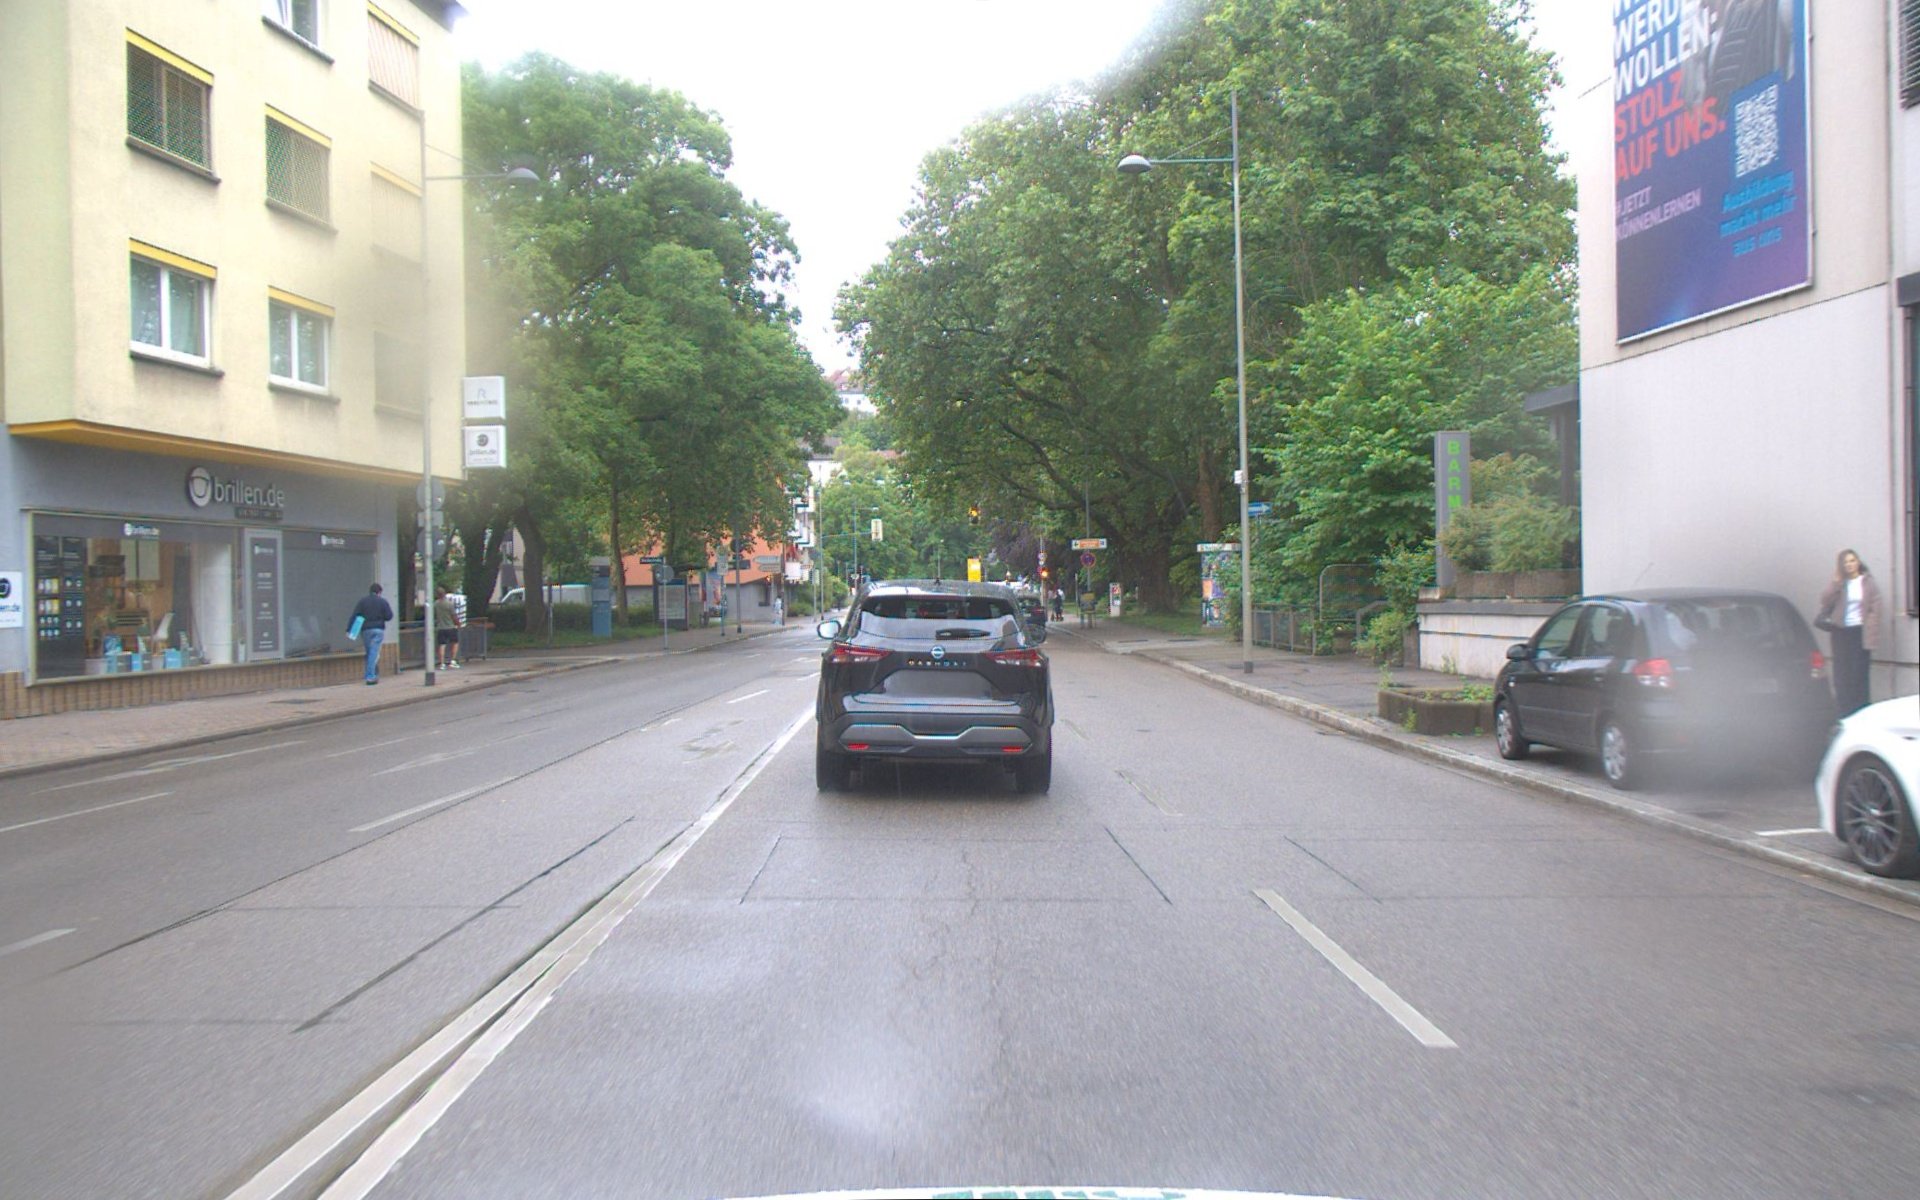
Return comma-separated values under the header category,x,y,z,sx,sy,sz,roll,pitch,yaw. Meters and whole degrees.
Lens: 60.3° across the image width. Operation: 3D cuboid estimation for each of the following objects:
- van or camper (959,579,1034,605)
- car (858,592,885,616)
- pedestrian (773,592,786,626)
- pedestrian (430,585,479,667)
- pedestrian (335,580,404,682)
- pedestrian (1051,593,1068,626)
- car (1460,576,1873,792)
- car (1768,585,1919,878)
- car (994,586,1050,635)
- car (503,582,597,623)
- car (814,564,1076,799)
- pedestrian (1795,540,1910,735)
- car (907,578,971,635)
category,x,y,z,sx,sy,sz,roll,pitch,yaw
van or camper,5.269,-1.150,240.849,10.710,3.619,3.183,1,0,-2
car,-6.808,0.281,127.921,1.783,1.827,3.866,1,0,1
pedestrian,-9.787,0.485,89.827,0.654,1.822,0.720,1,0,-8
pedestrian,-10.704,0.541,35.046,0.782,1.718,0.817,-1,0,-1
pedestrian,-10.739,0.554,30.111,0.847,1.819,0.875,2,0,5
pedestrian,5.595,0.549,92.970,0.663,1.822,0.710,1,0,-42
car,5.685,0.595,13.899,1.679,1.467,4.082,-3,0,0
car,5.680,0.633,7.310,1.739,1.425,4.577,-3,0,-3
car,2.491,0.457,67.494,1.907,1.848,3.998,-3,-1,-2
car,-18.371,0.120,74.229,3.756,1.764,1.879,1,0,-3
car,-0.245,0.559,13.763,1.857,1.657,3.997,0,1,-4
pedestrian,8.409,0.349,15.608,0.601,1.767,0.680,-3,0,-8
car,-0.652,0.223,54.104,1.906,1.714,4.000,-3,-1,0
